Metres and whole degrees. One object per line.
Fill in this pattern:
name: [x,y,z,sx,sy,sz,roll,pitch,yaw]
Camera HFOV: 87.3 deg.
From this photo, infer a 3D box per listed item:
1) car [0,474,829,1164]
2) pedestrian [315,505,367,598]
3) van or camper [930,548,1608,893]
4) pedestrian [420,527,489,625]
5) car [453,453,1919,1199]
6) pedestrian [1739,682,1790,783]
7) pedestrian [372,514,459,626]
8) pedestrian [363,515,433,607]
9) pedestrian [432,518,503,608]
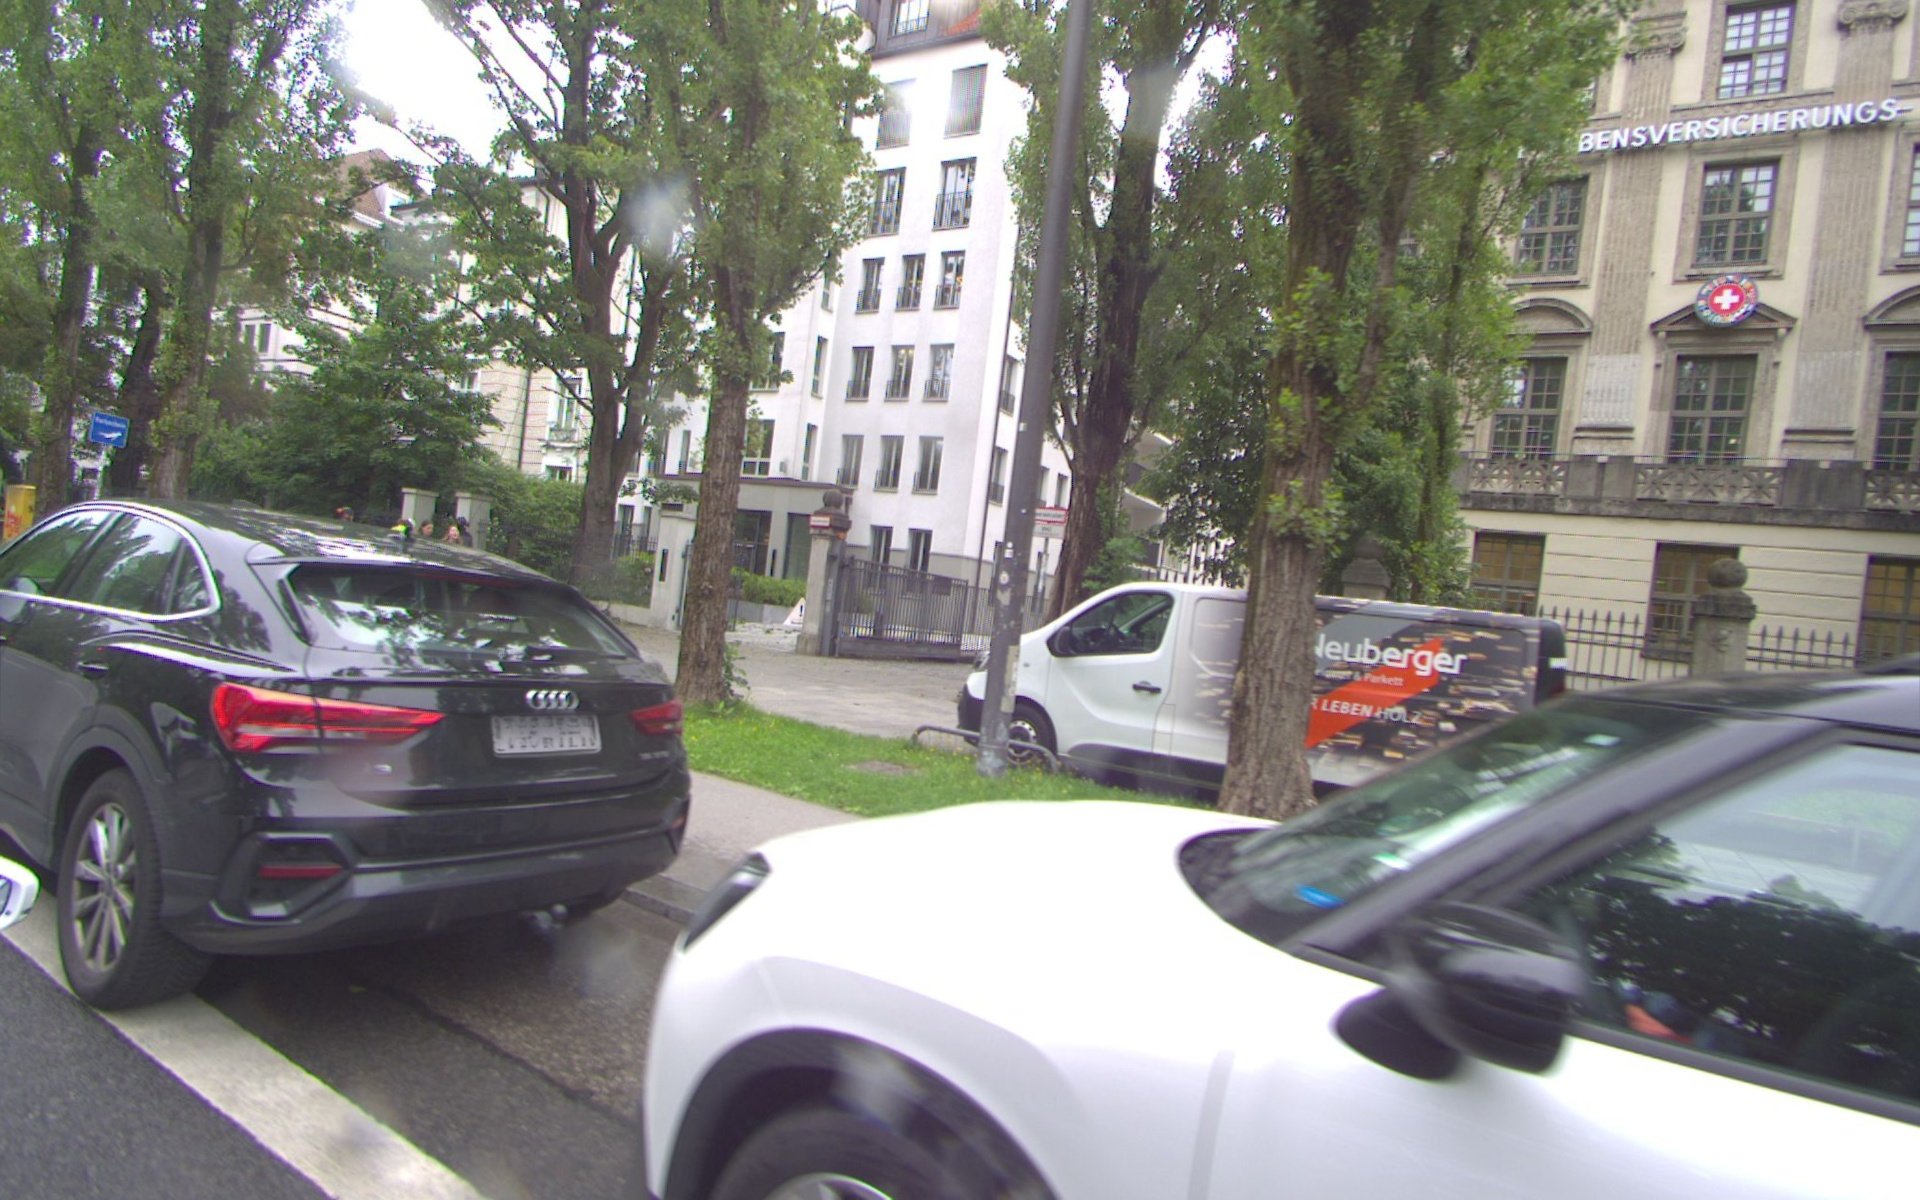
car: [-2.939,0.402,4.348,4.390,1.560,1.882,7,0,32]
pedestrian: [-13.137,-1.026,21.345,0.626,1.886,0.488,7,1,14]
van or camper: [2.589,0.838,9.125,5.279,1.957,2.080,7,-1,32]
pedestrian: [-8.810,-0.417,17.526,0.853,1.599,0.568,7,1,31]
car: [1.415,0.855,1.568,4.503,1.696,1.745,7,0,31]
pedestrian: [15.928,2.608,19.933,0.495,1.886,0.637,7,1,29]
pedestrian: [-9.100,-0.488,16.822,0.853,1.739,0.854,7,2,31]
pedestrian: [-11.829,-0.805,21.202,0.805,1.804,0.802,7,1,14]
pedestrian: [-10.829,-0.802,22.130,0.814,1.823,0.904,9,2,10]
